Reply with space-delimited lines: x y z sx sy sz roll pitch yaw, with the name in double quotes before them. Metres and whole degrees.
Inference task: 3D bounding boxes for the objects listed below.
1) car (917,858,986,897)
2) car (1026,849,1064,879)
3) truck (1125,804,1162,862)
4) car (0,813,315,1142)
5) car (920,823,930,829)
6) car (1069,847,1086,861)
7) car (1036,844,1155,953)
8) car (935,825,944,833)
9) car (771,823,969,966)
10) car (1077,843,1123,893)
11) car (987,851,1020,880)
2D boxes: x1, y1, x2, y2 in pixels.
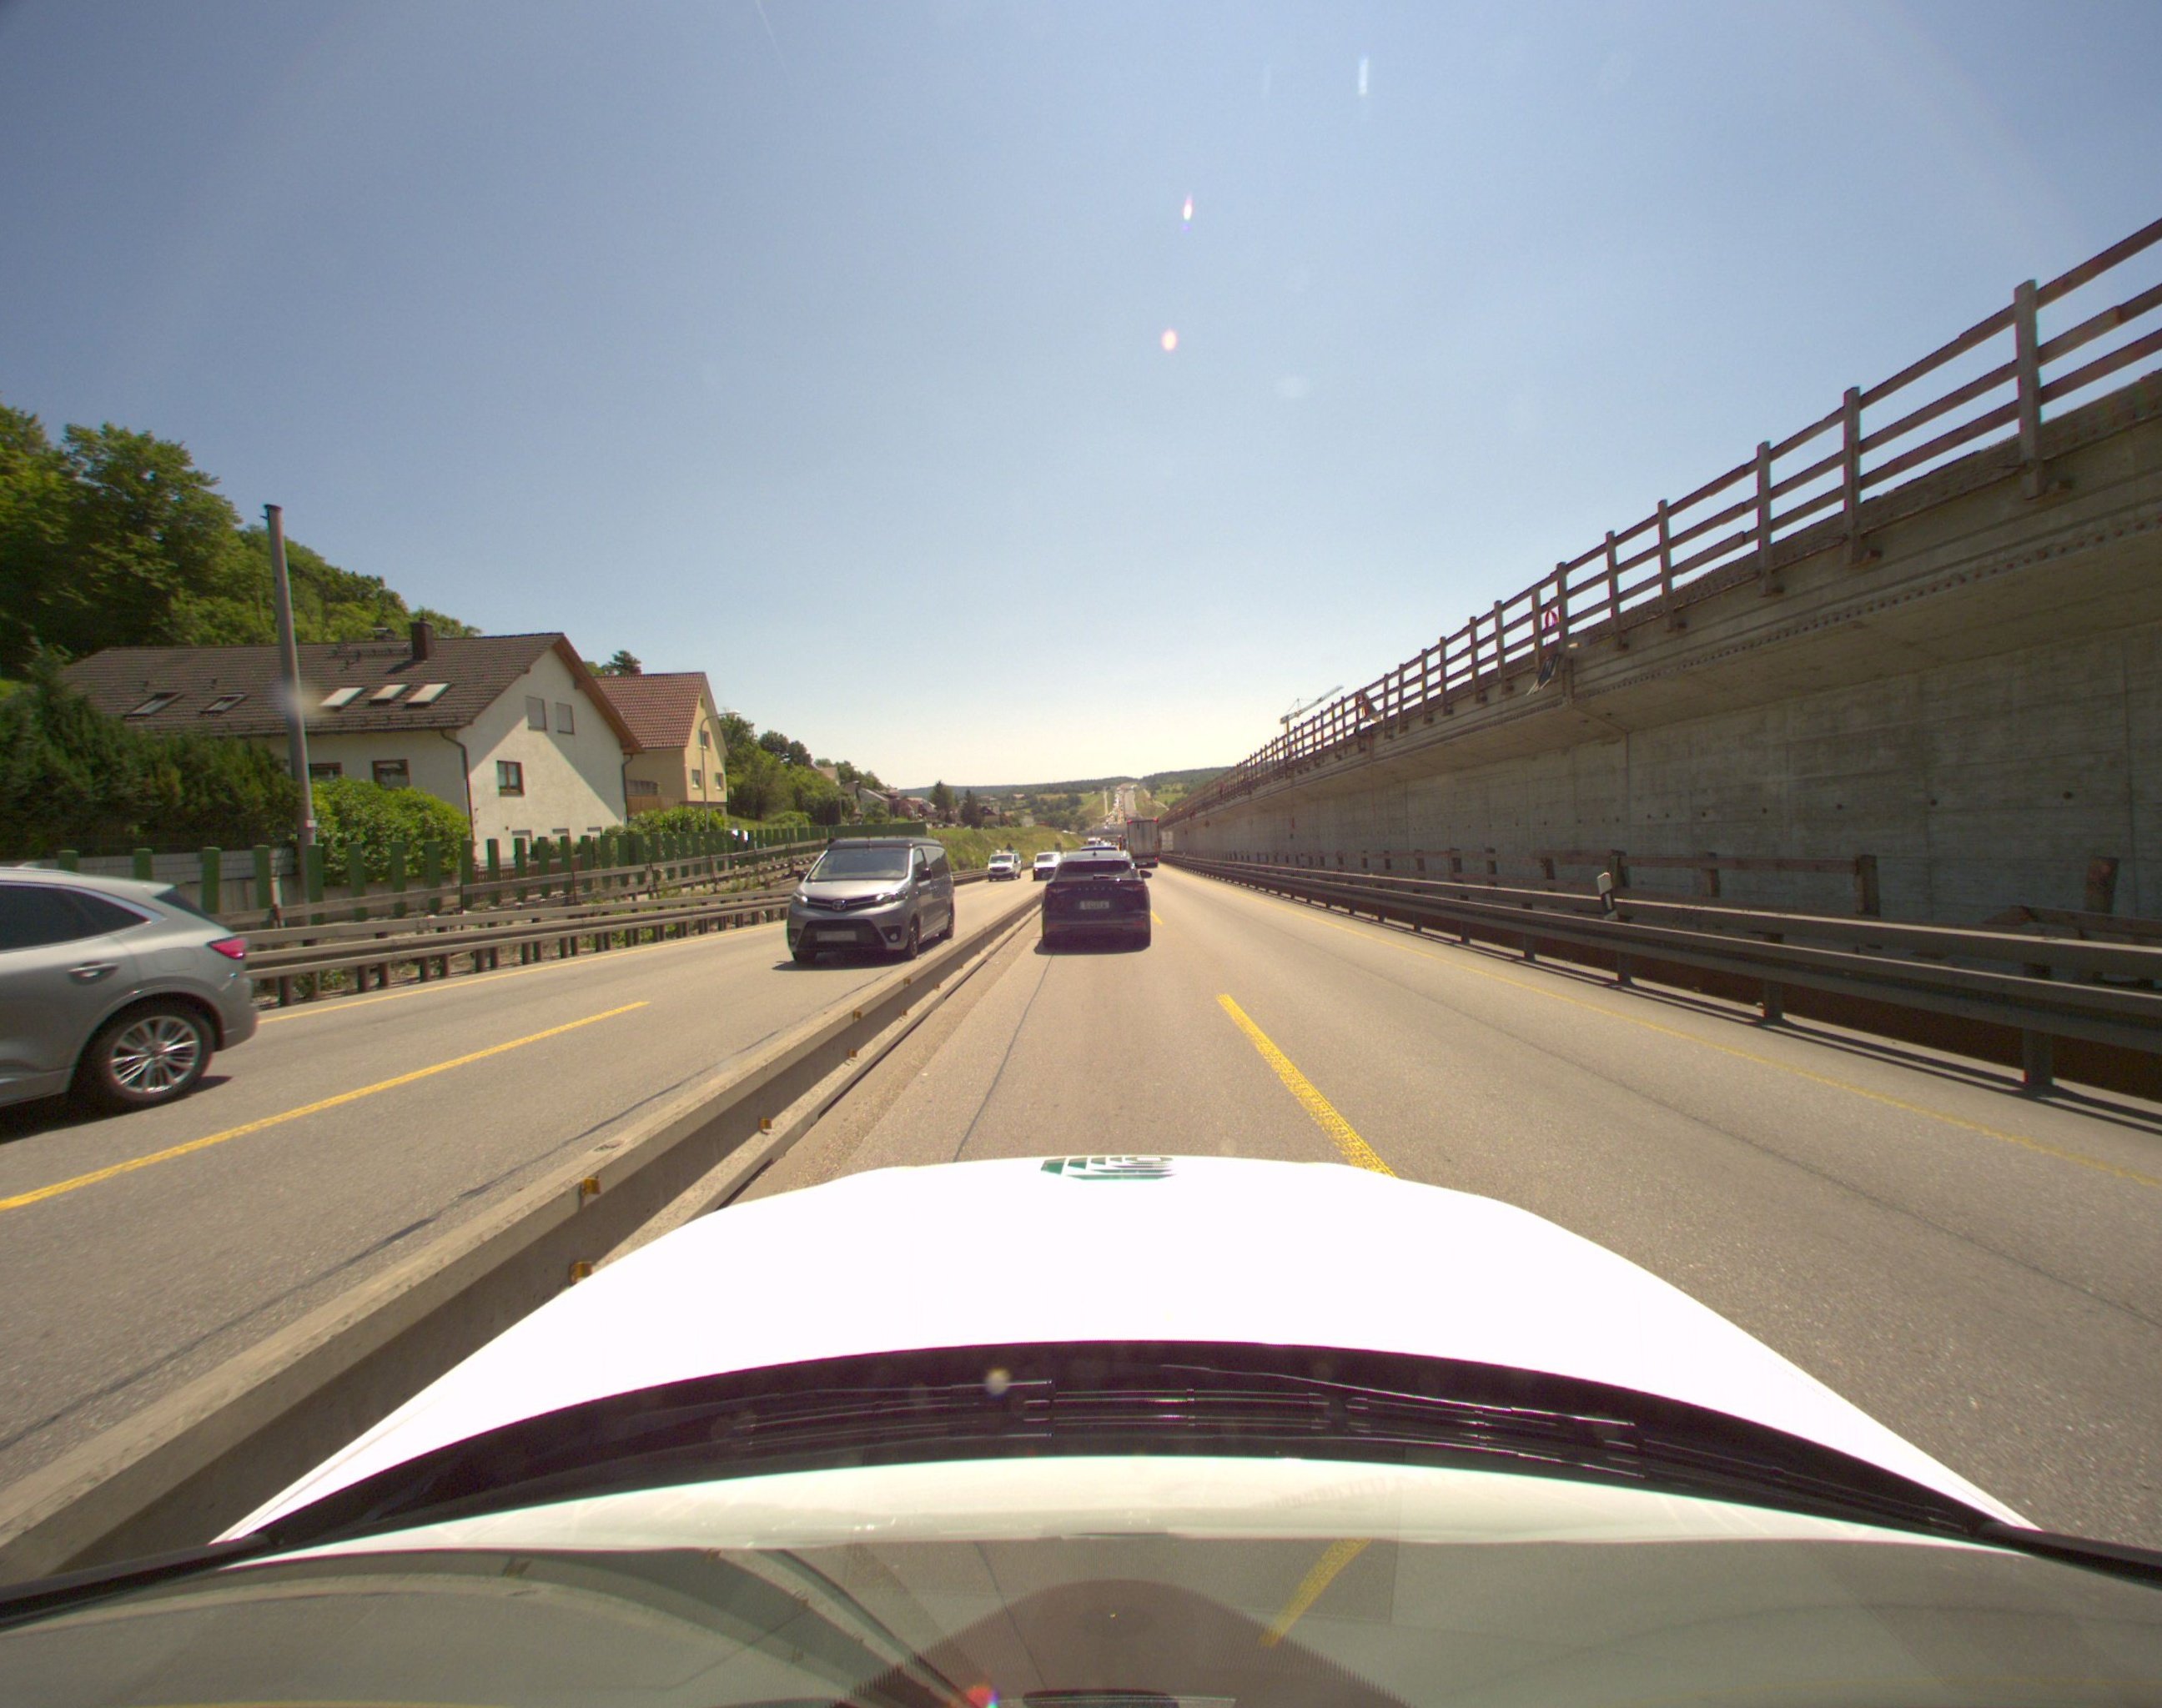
"car" -5.101 0.896 32.625 1.986 1.442 4.364 0 -1 1
"car" -2.403 0.709 55.751 2.149 1.906 5.327 -2 -1 1
"truck" 5.467 -1.646 72.915 2.834 4.615 11.819 -2 -1 3
"car" -7.018 0.701 4.099 1.986 1.827 4.509 -1 -1 1
"car" -34.248 -6.142 179.125 1.993 1.320 3.988 0 -1 -9
"car" -0.396 0.040 98.189 1.768 1.633 4.101 -2 0 1
"car" 0.272 0.702 14.652 1.776 1.597 3.756 -3 0 1
"car" -34.495 -6.201 198.960 1.924 1.728 3.989 -3 0 -8
"car" -3.440 0.624 14.428 1.986 2.014 4.970 -2 -1 2
"car" 0.742 0.551 33.646 1.744 1.895 3.754 -1 0 0
"car" -5.604 0.804 59.580 1.819 1.926 5.242 -2 0 0
